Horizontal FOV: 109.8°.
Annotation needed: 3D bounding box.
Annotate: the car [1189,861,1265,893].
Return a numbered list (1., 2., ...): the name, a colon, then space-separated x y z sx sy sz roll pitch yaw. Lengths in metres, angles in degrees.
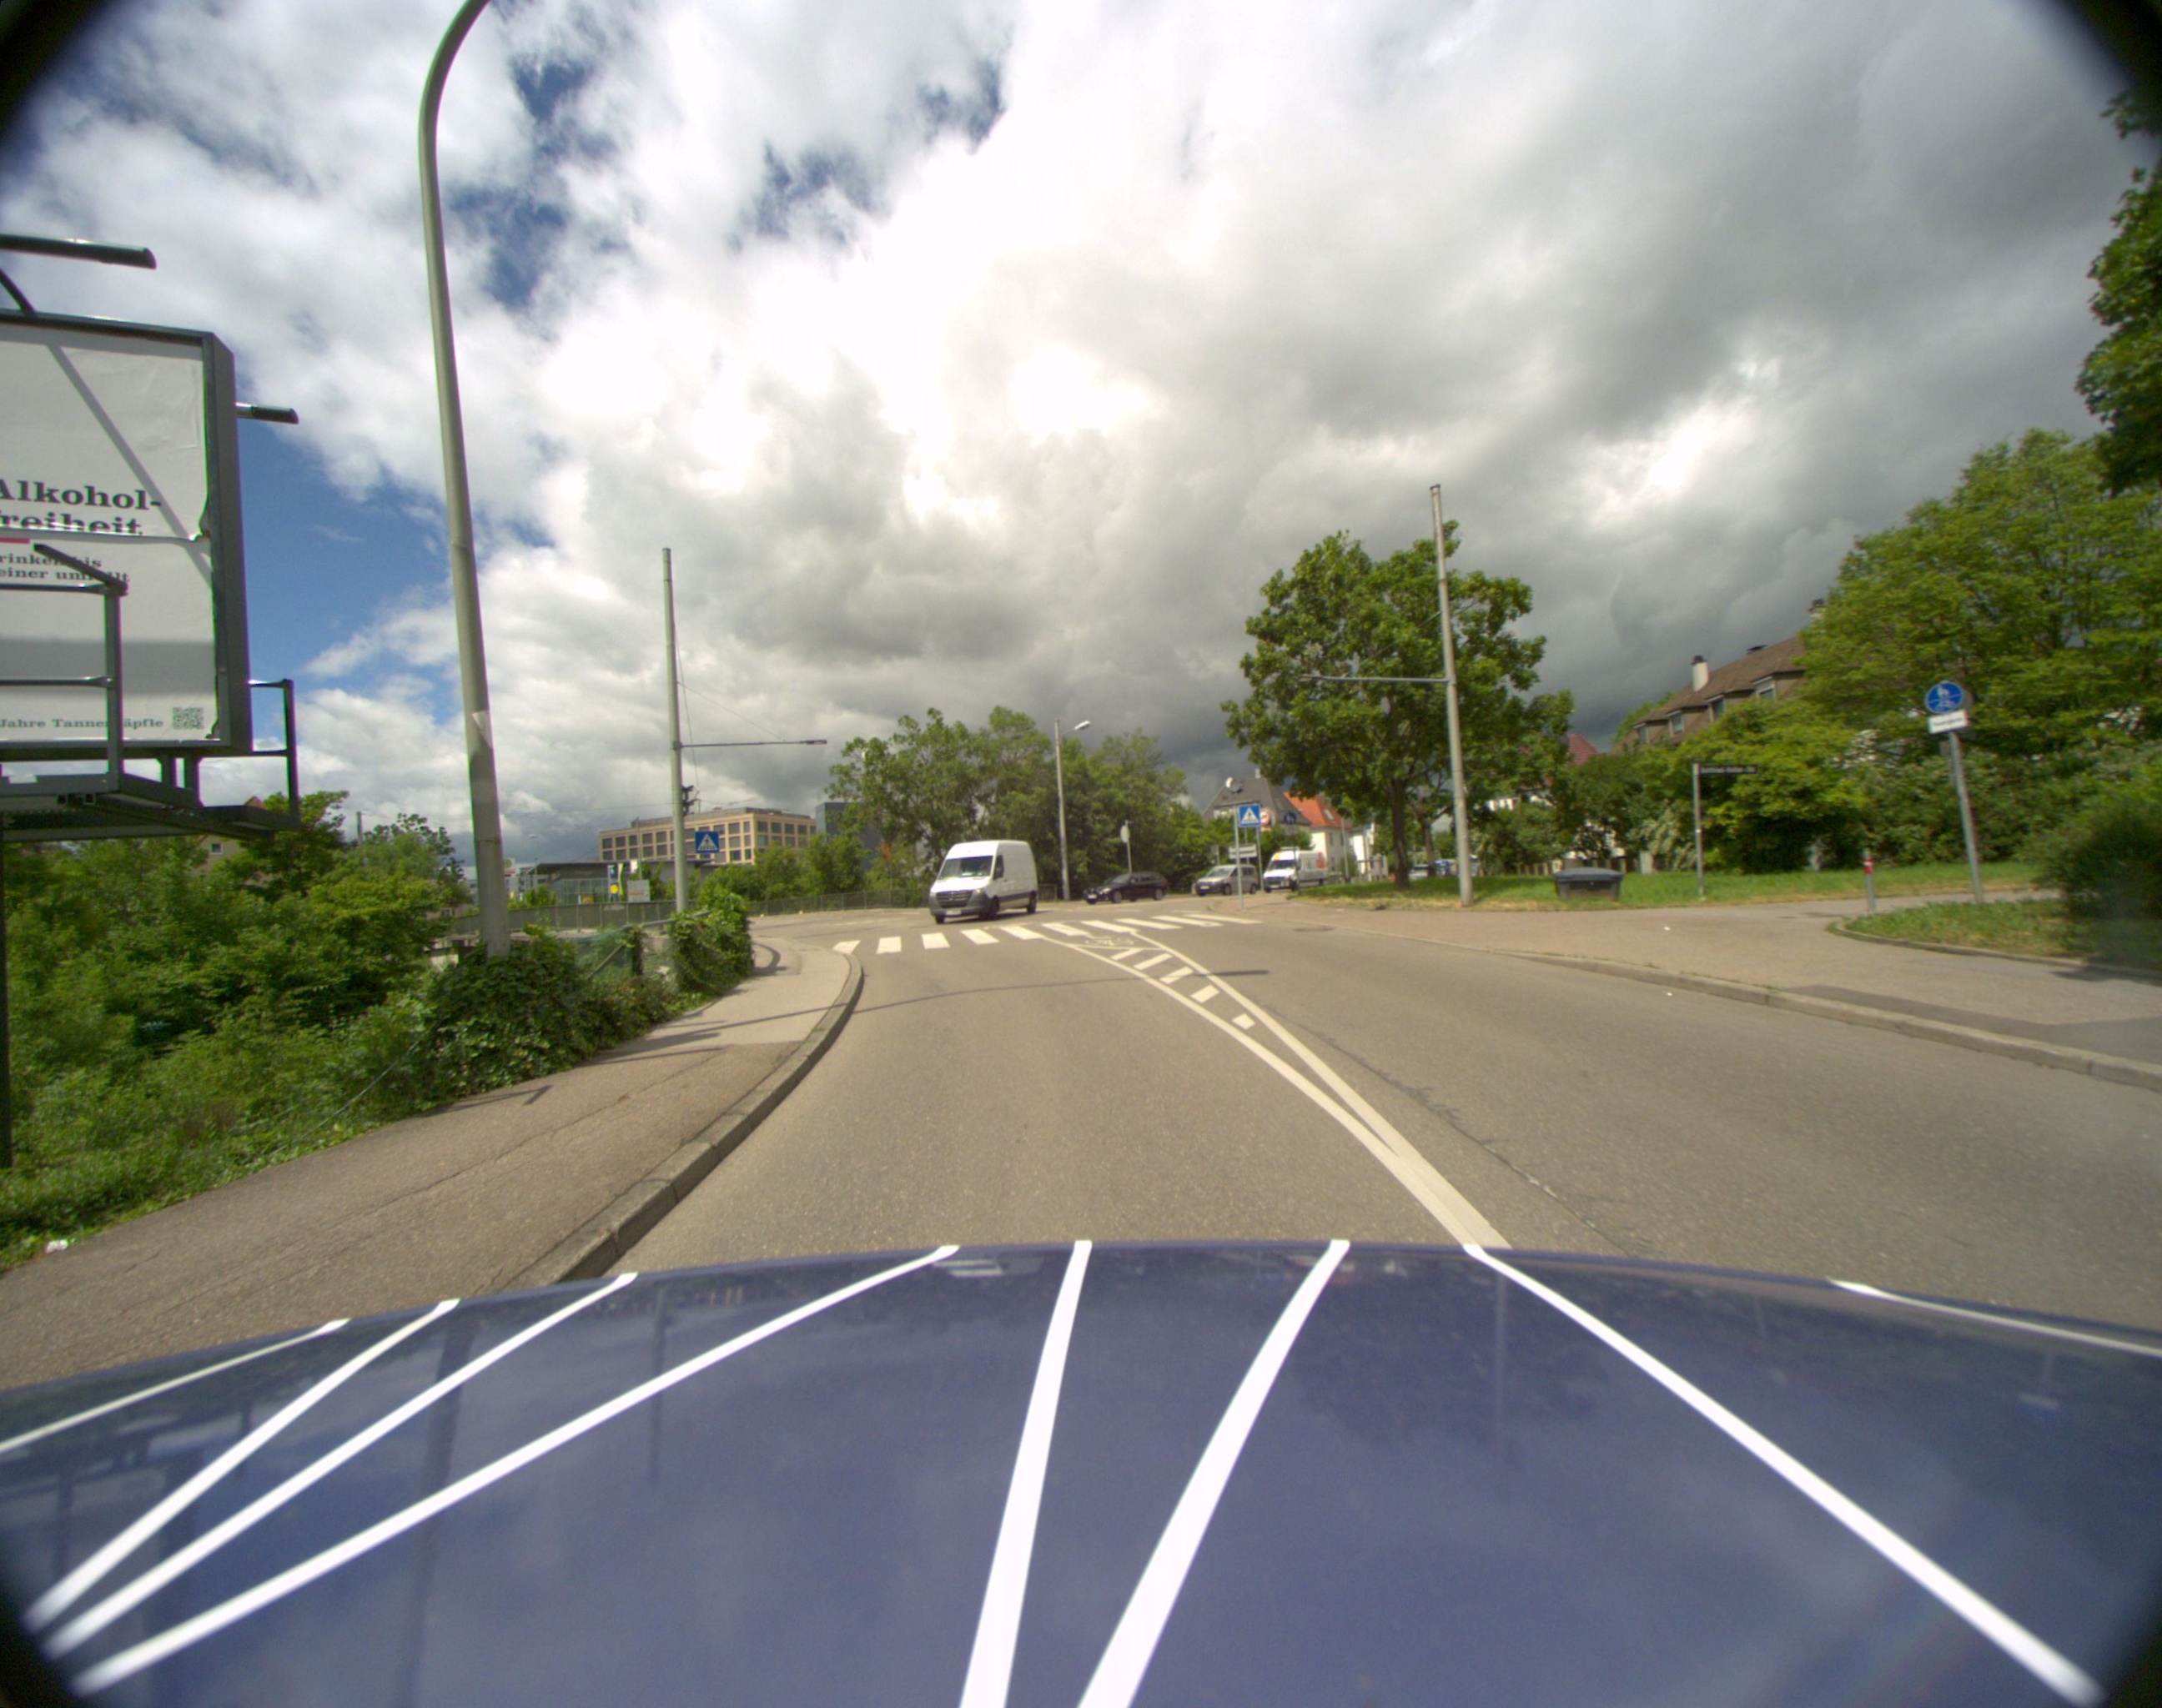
1. car: 8.267 1.276 42.868 1.995 1.577 4.411 -6 -4 45

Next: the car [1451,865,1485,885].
1. car: 36.796 1.961 72.175 1.995 1.578 4.410 -5 -2 38

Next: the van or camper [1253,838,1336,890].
1. van or camper: 14.007 0.777 49.332 2.266 2.975 8.347 -5 -6 36

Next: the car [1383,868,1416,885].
1. car: 34.290 2.415 81.734 1.995 1.577 4.411 -5 -3 38

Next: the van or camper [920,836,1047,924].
1. van or camper: -3.065 0.851 25.586 2.190 2.551 5.936 -2 -2 14

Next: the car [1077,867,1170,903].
1. car: 2.037 1.433 35.535 1.995 1.465 4.238 -5 -4 43

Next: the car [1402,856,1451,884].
1. car: 25.854 1.197 56.806 2.227 1.796 4.410 -5 -2 38
